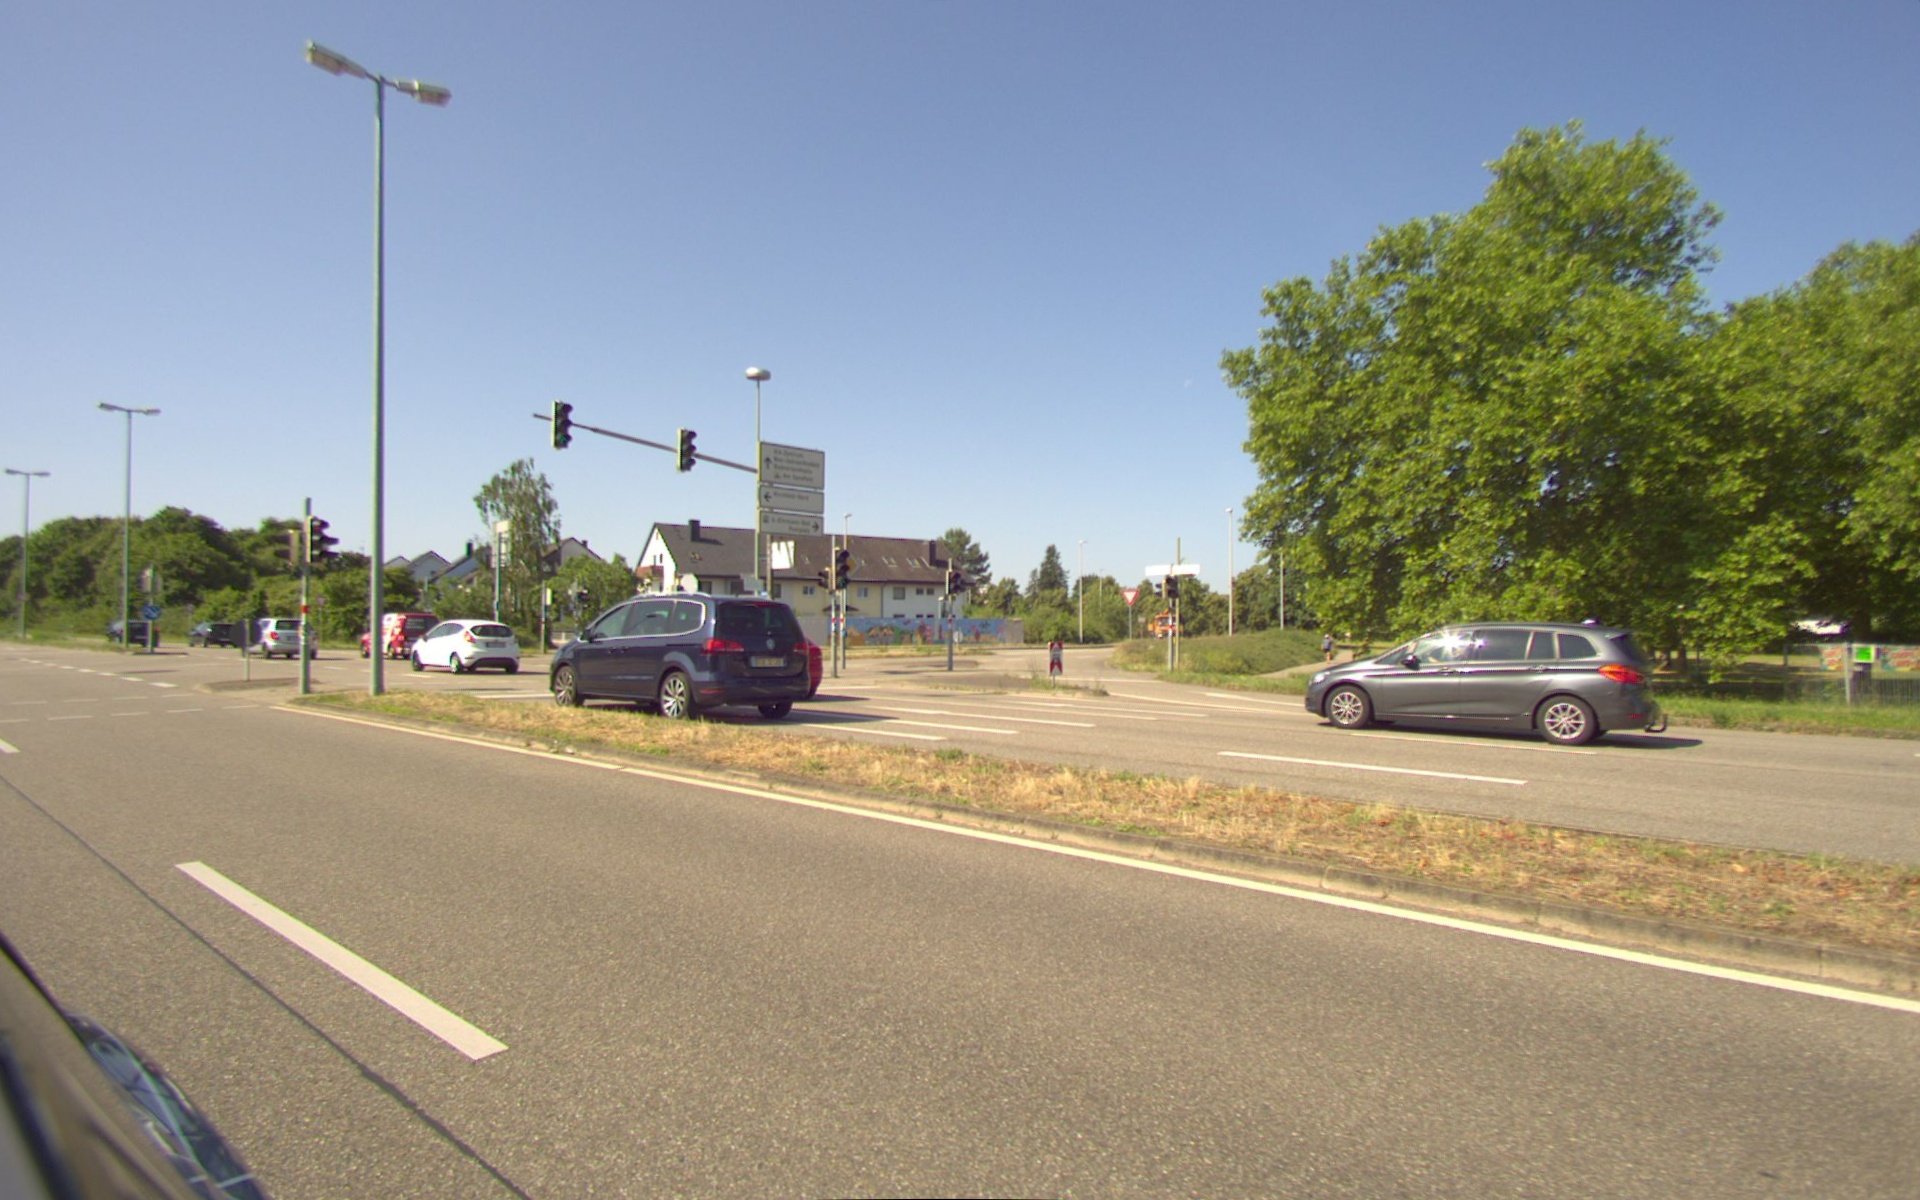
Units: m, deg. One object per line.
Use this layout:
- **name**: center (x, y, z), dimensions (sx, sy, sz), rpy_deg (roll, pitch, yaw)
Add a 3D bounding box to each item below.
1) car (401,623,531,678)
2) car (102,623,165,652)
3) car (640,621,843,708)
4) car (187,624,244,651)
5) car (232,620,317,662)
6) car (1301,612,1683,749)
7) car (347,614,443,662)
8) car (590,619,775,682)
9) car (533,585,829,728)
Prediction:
- **car**: center (-13.703, 1.355, 28.005), dimensions (3.840, 1.397, 1.810), rpy_deg (-1, -2, 40)
- **car**: center (-44.037, 1.976, 53.867), dimensions (4.331, 1.468, 1.960), rpy_deg (-1, -2, 42)
- **car**: center (-4.240, 1.146, 19.357), dimensions (3.999, 1.496, 1.796), rpy_deg (-1, -2, 42)
- **car**: center (-42.685, 2.109, 57.992), dimensions (4.230, 1.468, 1.864), rpy_deg (-1, -2, 43)
- **car**: center (-25.260, 1.483, 37.250), dimensions (3.869, 1.468, 1.602), rpy_deg (-1, -2, 40)
- **car**: center (7.442, 1.045, 14.409), dimensions (4.486, 1.635, 2.050), rpy_deg (-1, -4, 40)
- **car**: center (-22.014, 1.453, 39.409), dimensions (4.223, 1.783, 1.688), rpy_deg (-1, -3, 38)
- **car**: center (-7.731, 1.356, 27.847), dimensions (5.612, 1.485, 1.973), rpy_deg (-1, -6, 40)
- **car**: center (-4.148, 0.775, 14.681), dimensions (4.505, 1.764, 1.960), rpy_deg (-1, -4, 41)
